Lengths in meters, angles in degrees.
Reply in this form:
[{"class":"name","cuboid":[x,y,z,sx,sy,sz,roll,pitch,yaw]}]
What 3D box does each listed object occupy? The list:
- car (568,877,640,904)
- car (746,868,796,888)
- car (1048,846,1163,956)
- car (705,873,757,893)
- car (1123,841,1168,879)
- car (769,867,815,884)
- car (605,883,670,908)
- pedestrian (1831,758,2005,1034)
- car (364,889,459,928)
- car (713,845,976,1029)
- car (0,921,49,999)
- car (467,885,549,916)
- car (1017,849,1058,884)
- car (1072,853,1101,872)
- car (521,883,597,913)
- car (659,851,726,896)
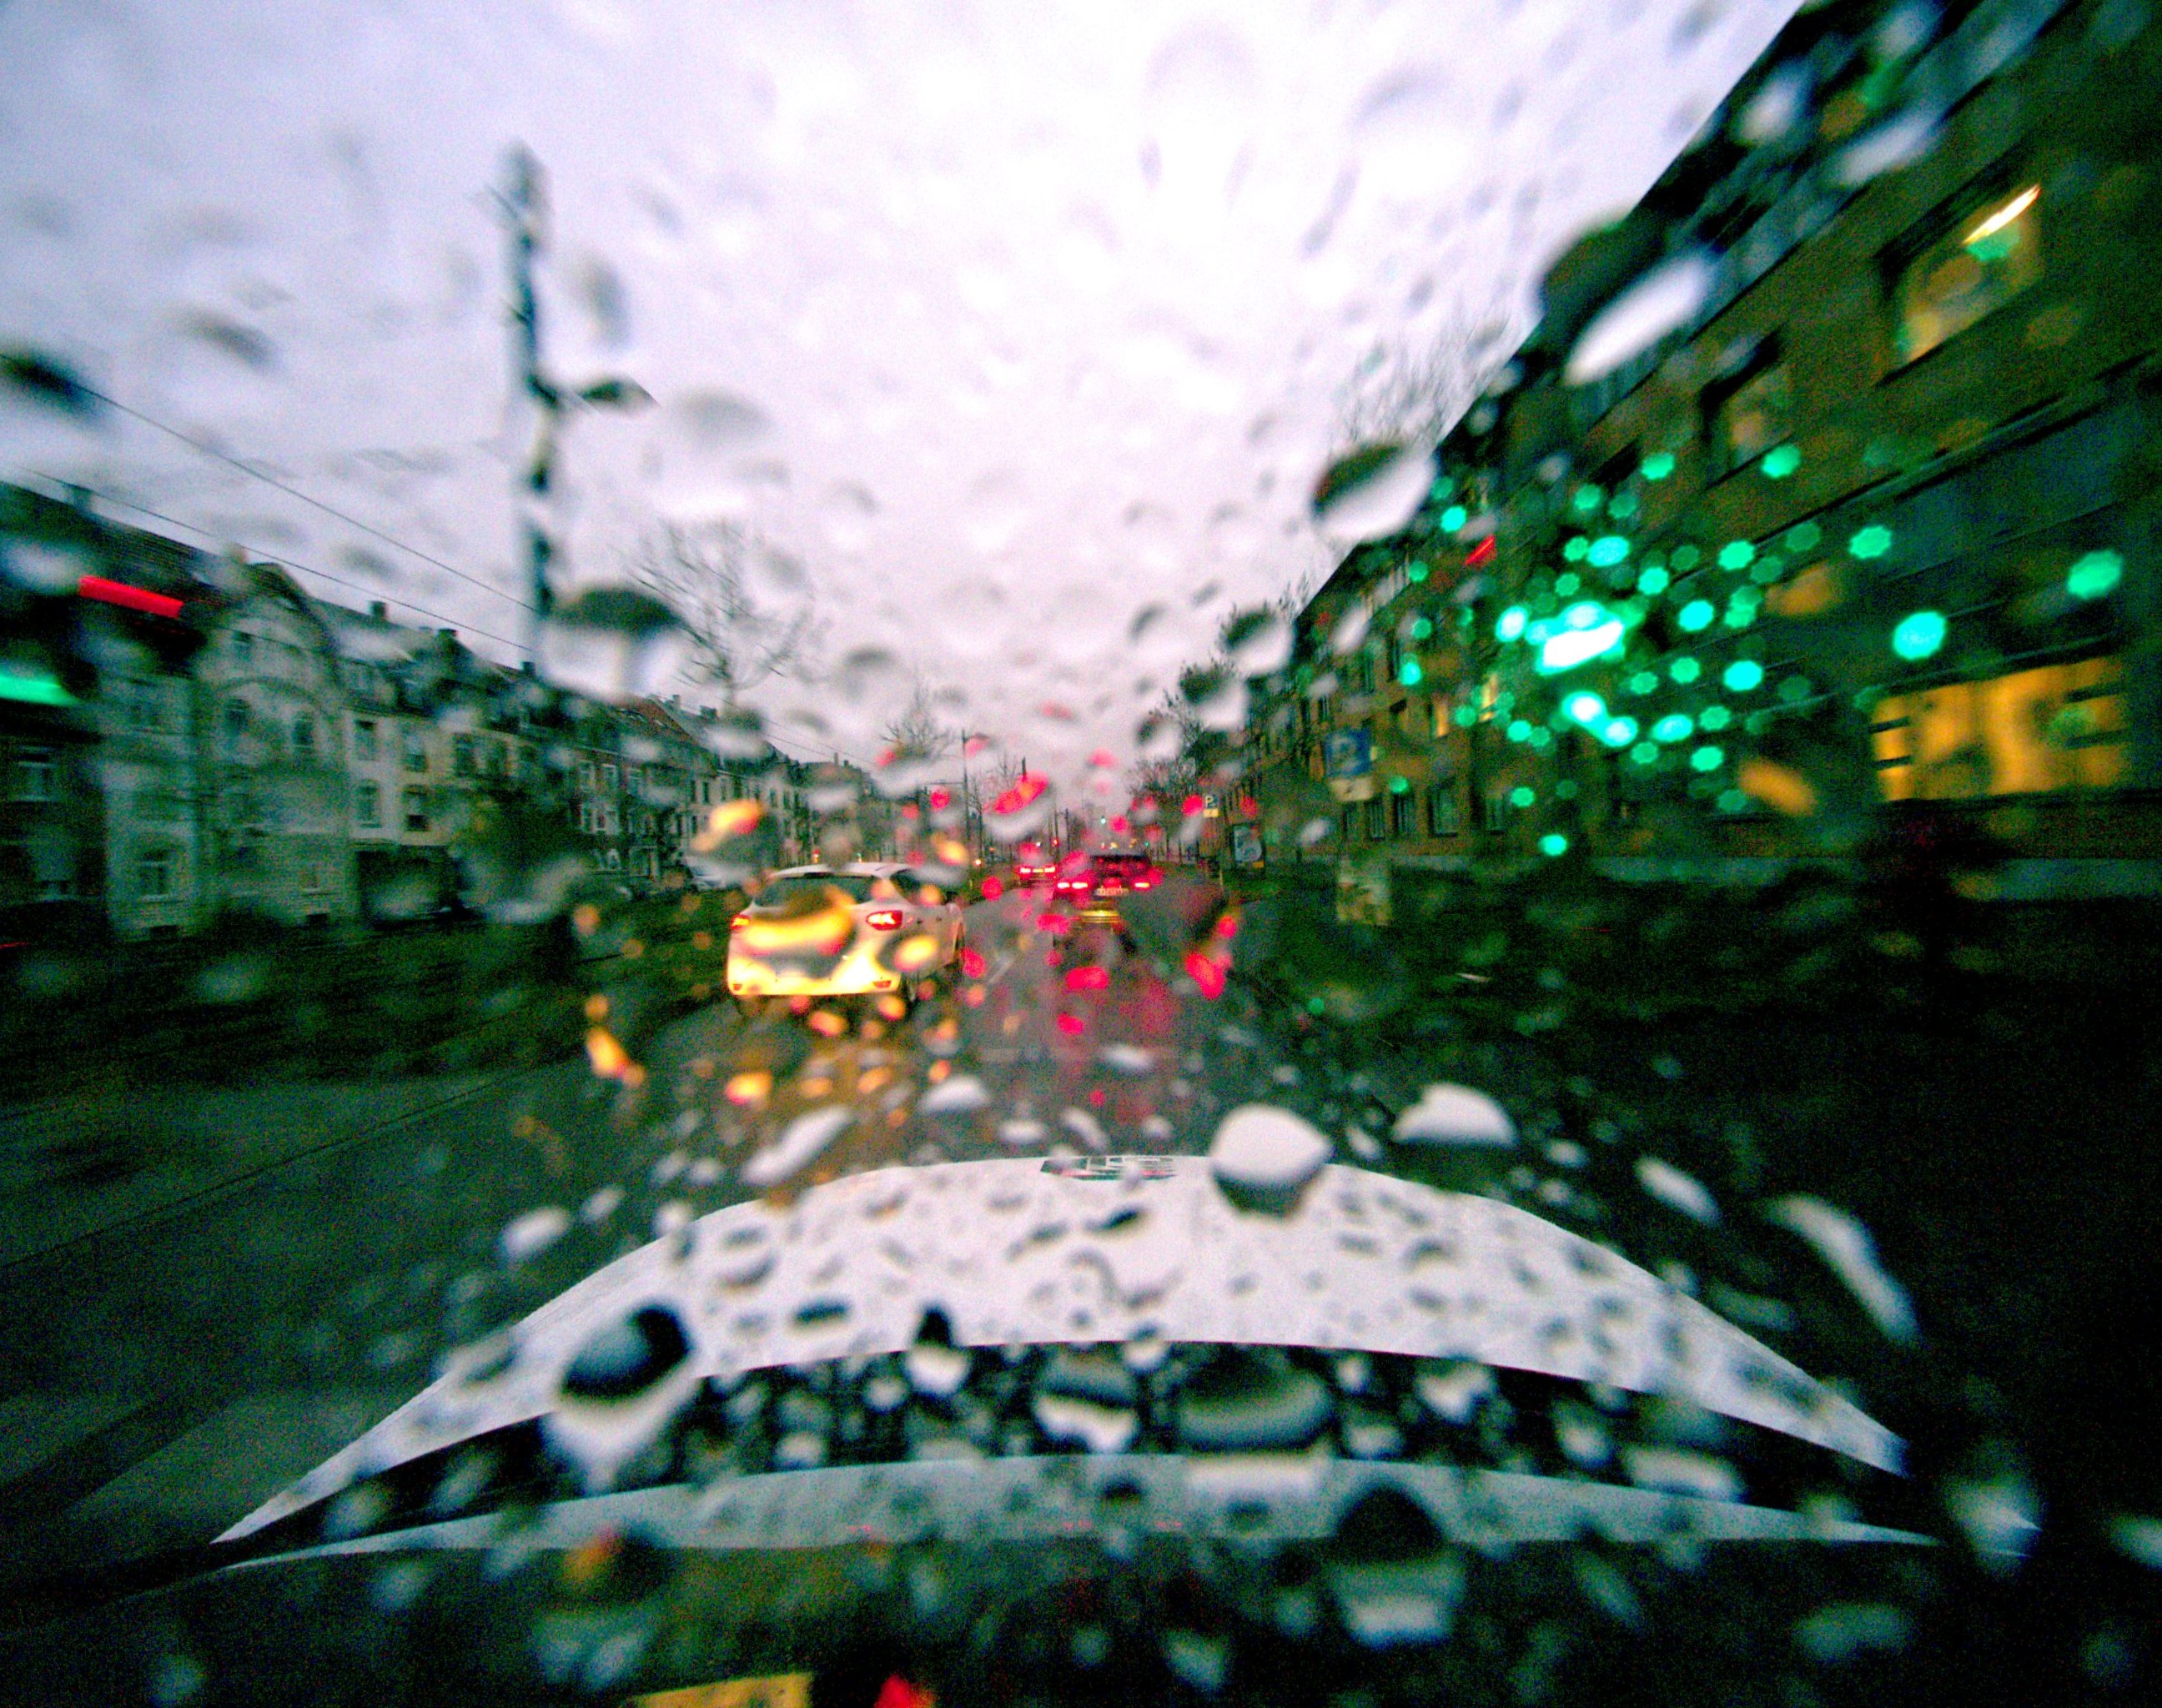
[{"class":"car","cuboid":[-26.722,2.038,45.570,3.948,1.332,2.013,-3,0,36]},{"class":"car","cuboid":[-26.159,2.006,68.708,3.948,1.486,2.013,-3,0,36]},{"class":"car","cuboid":[0.429,0.698,14.135,1.665,1.600,4.055,-2,0,2]},{"class":"car","cuboid":[-26.692,2.192,62.049,3.948,1.332,2.013,-3,0,39]},{"class":"car","cuboid":[3.188,0.292,41.038,1.986,1.744,4.002,-3,0,2]},{"class":"car","cuboid":[-25.519,1.910,71.796,3.948,1.332,2.013,-3,0,39]},{"class":"car","cuboid":[-26.557,2.507,48.764,3.948,1.332,2.013,-3,0,39]},{"class":"pedestrian","cuboid":[5.663,0.260,5.526,0.507,1.742,0.651,-3,0,-31]},{"class":"car","cuboid":[-26.442,2.138,32.130,3.948,1.332,2.013,-3,0,37]},{"class":"car","cuboid":[-2.381,0.742,9.315,1.665,1.600,4.055,-2,0,2]},{"class":"car","cuboid":[-21.983,2.148,14.191,1.857,1.453,4.701,-4,0,2]},{"class":"car","cuboid":[-25.935,2.098,36.812,3.948,1.169,2.013,-3,0,40]},{"class":"car","cuboid":[-2.116,0.589,40.417,1.665,1.600,4.055,-2,0,2]},{"class":"car","cuboid":[0.448,0.605,60.696,1.986,1.298,3.481,-3,0,2]},{"class":"car","cuboid":[-27.066,2.287,42.195,3.948,1.332,2.013,-3,0,37]},{"class":"car","cuboid":[-26.748,1.382,55.960,5.792,2.797,2.012,-3,0,43]}]
